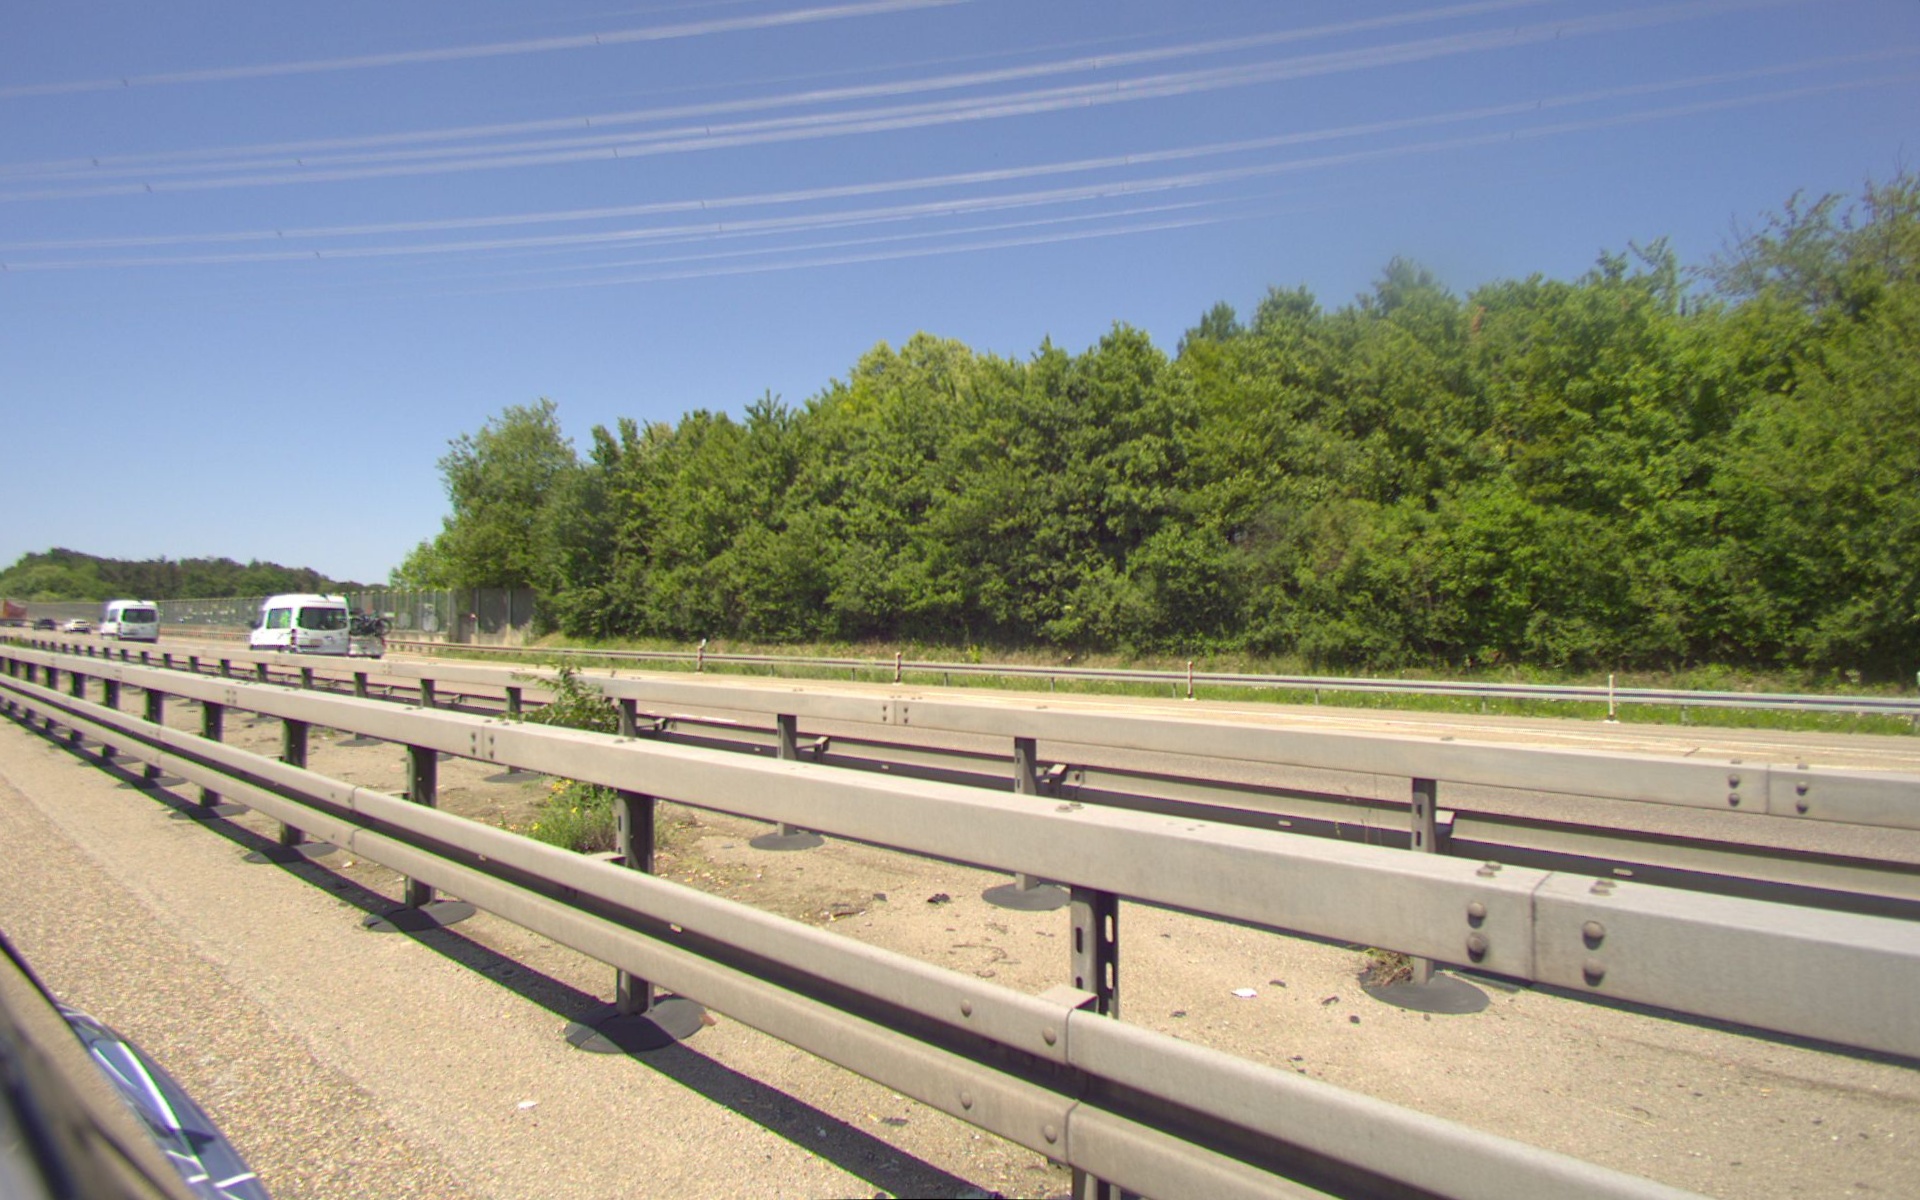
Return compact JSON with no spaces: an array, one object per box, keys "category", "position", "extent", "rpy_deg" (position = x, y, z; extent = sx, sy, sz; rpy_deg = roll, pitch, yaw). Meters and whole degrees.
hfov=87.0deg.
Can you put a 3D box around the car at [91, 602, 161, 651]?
[{"category":"car","position":[-48.877,1.546,59.284],"extent":[5.836,2.671,2.031],"rpy_deg":[0,-5,41]}]

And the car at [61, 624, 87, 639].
[{"category":"car","position":[-94.941,3.354,108.426],"extent":[4.346,1.467,1.666],"rpy_deg":[-1,-3,44]}]

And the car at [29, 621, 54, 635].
[{"category":"car","position":[-113.953,3.406,125.540],"extent":[5.275,1.588,1.972],"rpy_deg":[0,0,43]}]

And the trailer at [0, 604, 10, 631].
[{"category":"trailer","position":[-143.057,2.627,149.942],"extent":[6.128,4.007,2.728],"rpy_deg":[-2,-3,41]}]

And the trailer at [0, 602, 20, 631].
[{"category":"trailer","position":[-138.245,2.493,145.671],"extent":[14.674,4.007,2.734],"rpy_deg":[-2,-3,41]}]

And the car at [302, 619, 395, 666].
[{"category":"car","position":[-27.540,1.878,45.497],"extent":[5.488,1.919,1.846],"rpy_deg":[0,-3,40]}]

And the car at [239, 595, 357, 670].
[{"category":"car","position":[-24.981,1.173,38.082],"extent":[5.887,2.613,2.133],"rpy_deg":[0,-2,41]}]
